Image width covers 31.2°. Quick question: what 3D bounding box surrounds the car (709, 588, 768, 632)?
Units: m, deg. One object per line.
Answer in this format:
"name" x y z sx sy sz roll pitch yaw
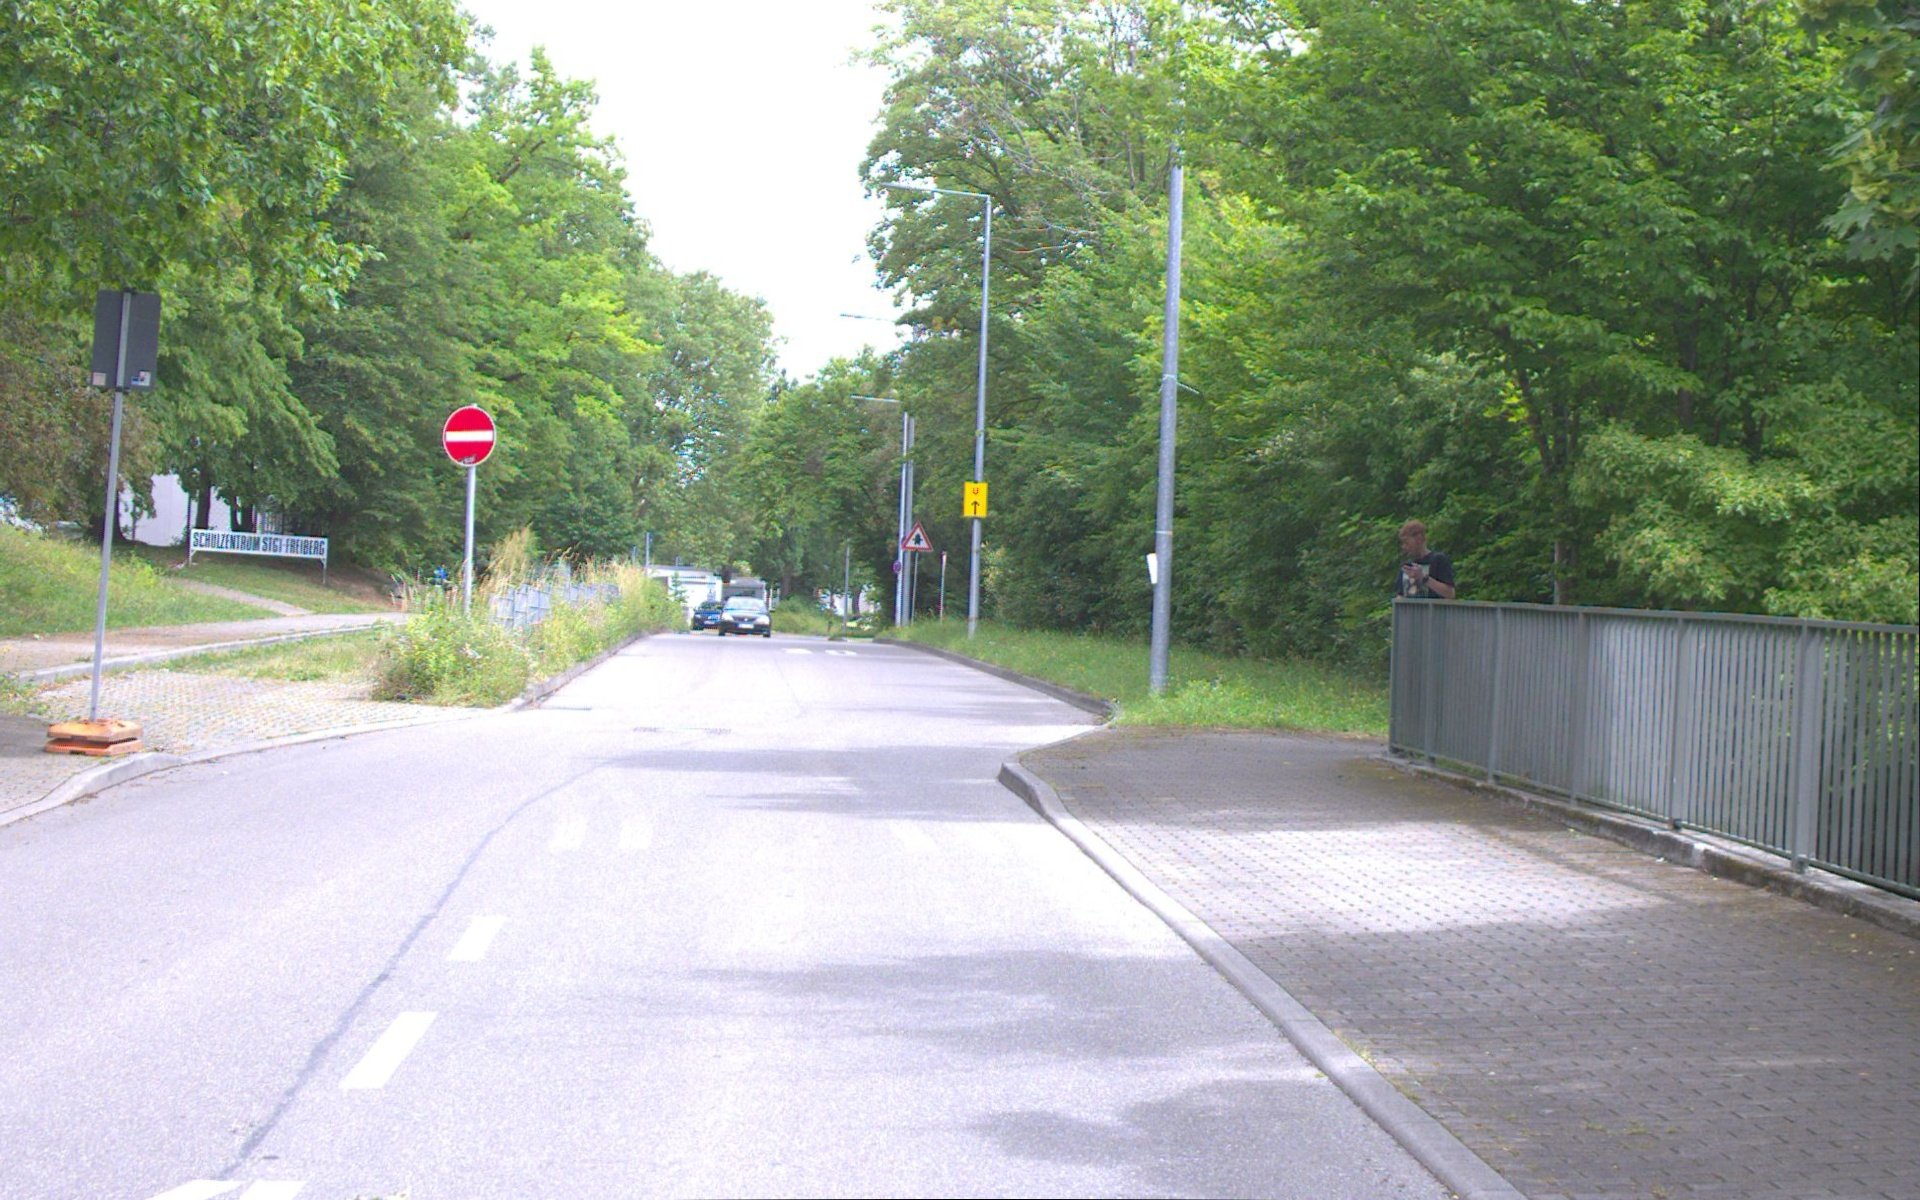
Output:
"car" -7.247 0.328 112.838 1.693 1.344 4.095 2 0 -1

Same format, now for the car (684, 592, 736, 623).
"car" -12.468 0.386 171.508 1.979 1.379 3.999 3 0 4

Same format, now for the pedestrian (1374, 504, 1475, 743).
"pedestrian" 3.535 0.176 26.134 0.587 1.777 0.682 2 0 20

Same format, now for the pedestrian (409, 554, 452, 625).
"pedestrian" -15.455 -0.296 100.350 0.877 2.007 0.865 -2 -4 42
